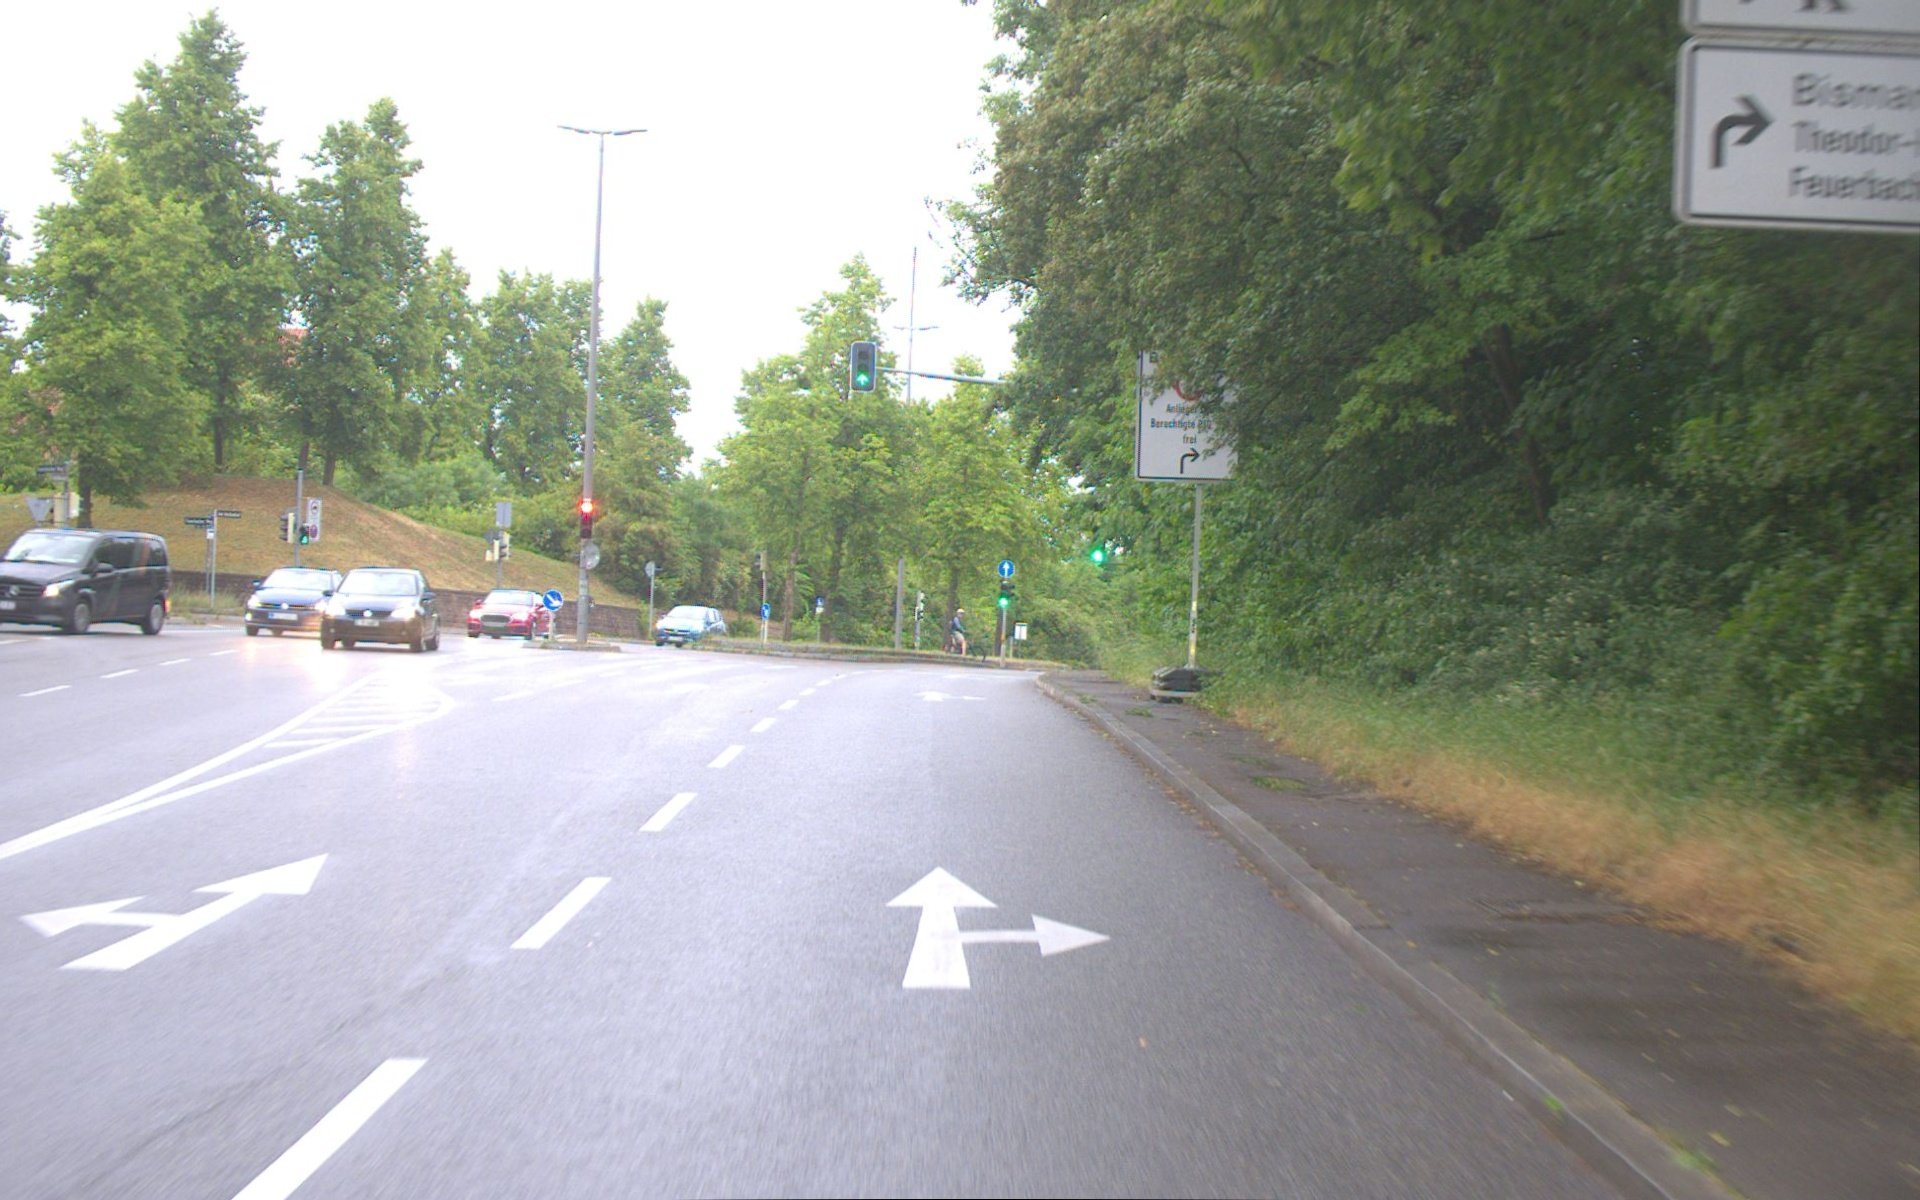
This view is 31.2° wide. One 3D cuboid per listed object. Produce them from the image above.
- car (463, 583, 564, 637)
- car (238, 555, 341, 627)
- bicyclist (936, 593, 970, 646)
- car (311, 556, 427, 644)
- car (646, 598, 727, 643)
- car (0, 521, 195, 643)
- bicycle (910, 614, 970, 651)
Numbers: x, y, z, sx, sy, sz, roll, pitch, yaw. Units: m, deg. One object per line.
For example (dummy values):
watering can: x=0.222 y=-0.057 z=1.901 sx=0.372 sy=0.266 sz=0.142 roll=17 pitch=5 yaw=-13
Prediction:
car: x=-12.221 y=0.260 z=94.401 sx=1.875 sy=1.369 sz=4.384 roll=2 pitch=1 yaw=4
car: x=-13.666 y=-0.199 z=70.191 sx=1.631 sy=1.389 sz=4.001 roll=1 pitch=0 yaw=-5
bicyclist: x=-0.232 y=0.657 z=117.360 sx=0.799 sy=1.746 sz=0.725 roll=6 pitch=-5 yaw=-42
car: x=-10.411 y=-0.025 z=60.740 sx=1.700 sy=1.422 sz=4.079 roll=2 pitch=1 yaw=-6
car: x=-9.239 y=0.683 z=116.498 sx=1.994 sy=1.485 sz=3.936 roll=0 pitch=0 yaw=7
car: x=-15.938 y=-0.310 z=61.913 sx=2.104 sy=1.940 sz=5.156 roll=3 pitch=-1 yaw=13
bicycle: x=-0.678 y=1.100 z=116.940 sx=2.134 sy=1.139 sz=0.554 roll=5 pitch=-2 yaw=-42
